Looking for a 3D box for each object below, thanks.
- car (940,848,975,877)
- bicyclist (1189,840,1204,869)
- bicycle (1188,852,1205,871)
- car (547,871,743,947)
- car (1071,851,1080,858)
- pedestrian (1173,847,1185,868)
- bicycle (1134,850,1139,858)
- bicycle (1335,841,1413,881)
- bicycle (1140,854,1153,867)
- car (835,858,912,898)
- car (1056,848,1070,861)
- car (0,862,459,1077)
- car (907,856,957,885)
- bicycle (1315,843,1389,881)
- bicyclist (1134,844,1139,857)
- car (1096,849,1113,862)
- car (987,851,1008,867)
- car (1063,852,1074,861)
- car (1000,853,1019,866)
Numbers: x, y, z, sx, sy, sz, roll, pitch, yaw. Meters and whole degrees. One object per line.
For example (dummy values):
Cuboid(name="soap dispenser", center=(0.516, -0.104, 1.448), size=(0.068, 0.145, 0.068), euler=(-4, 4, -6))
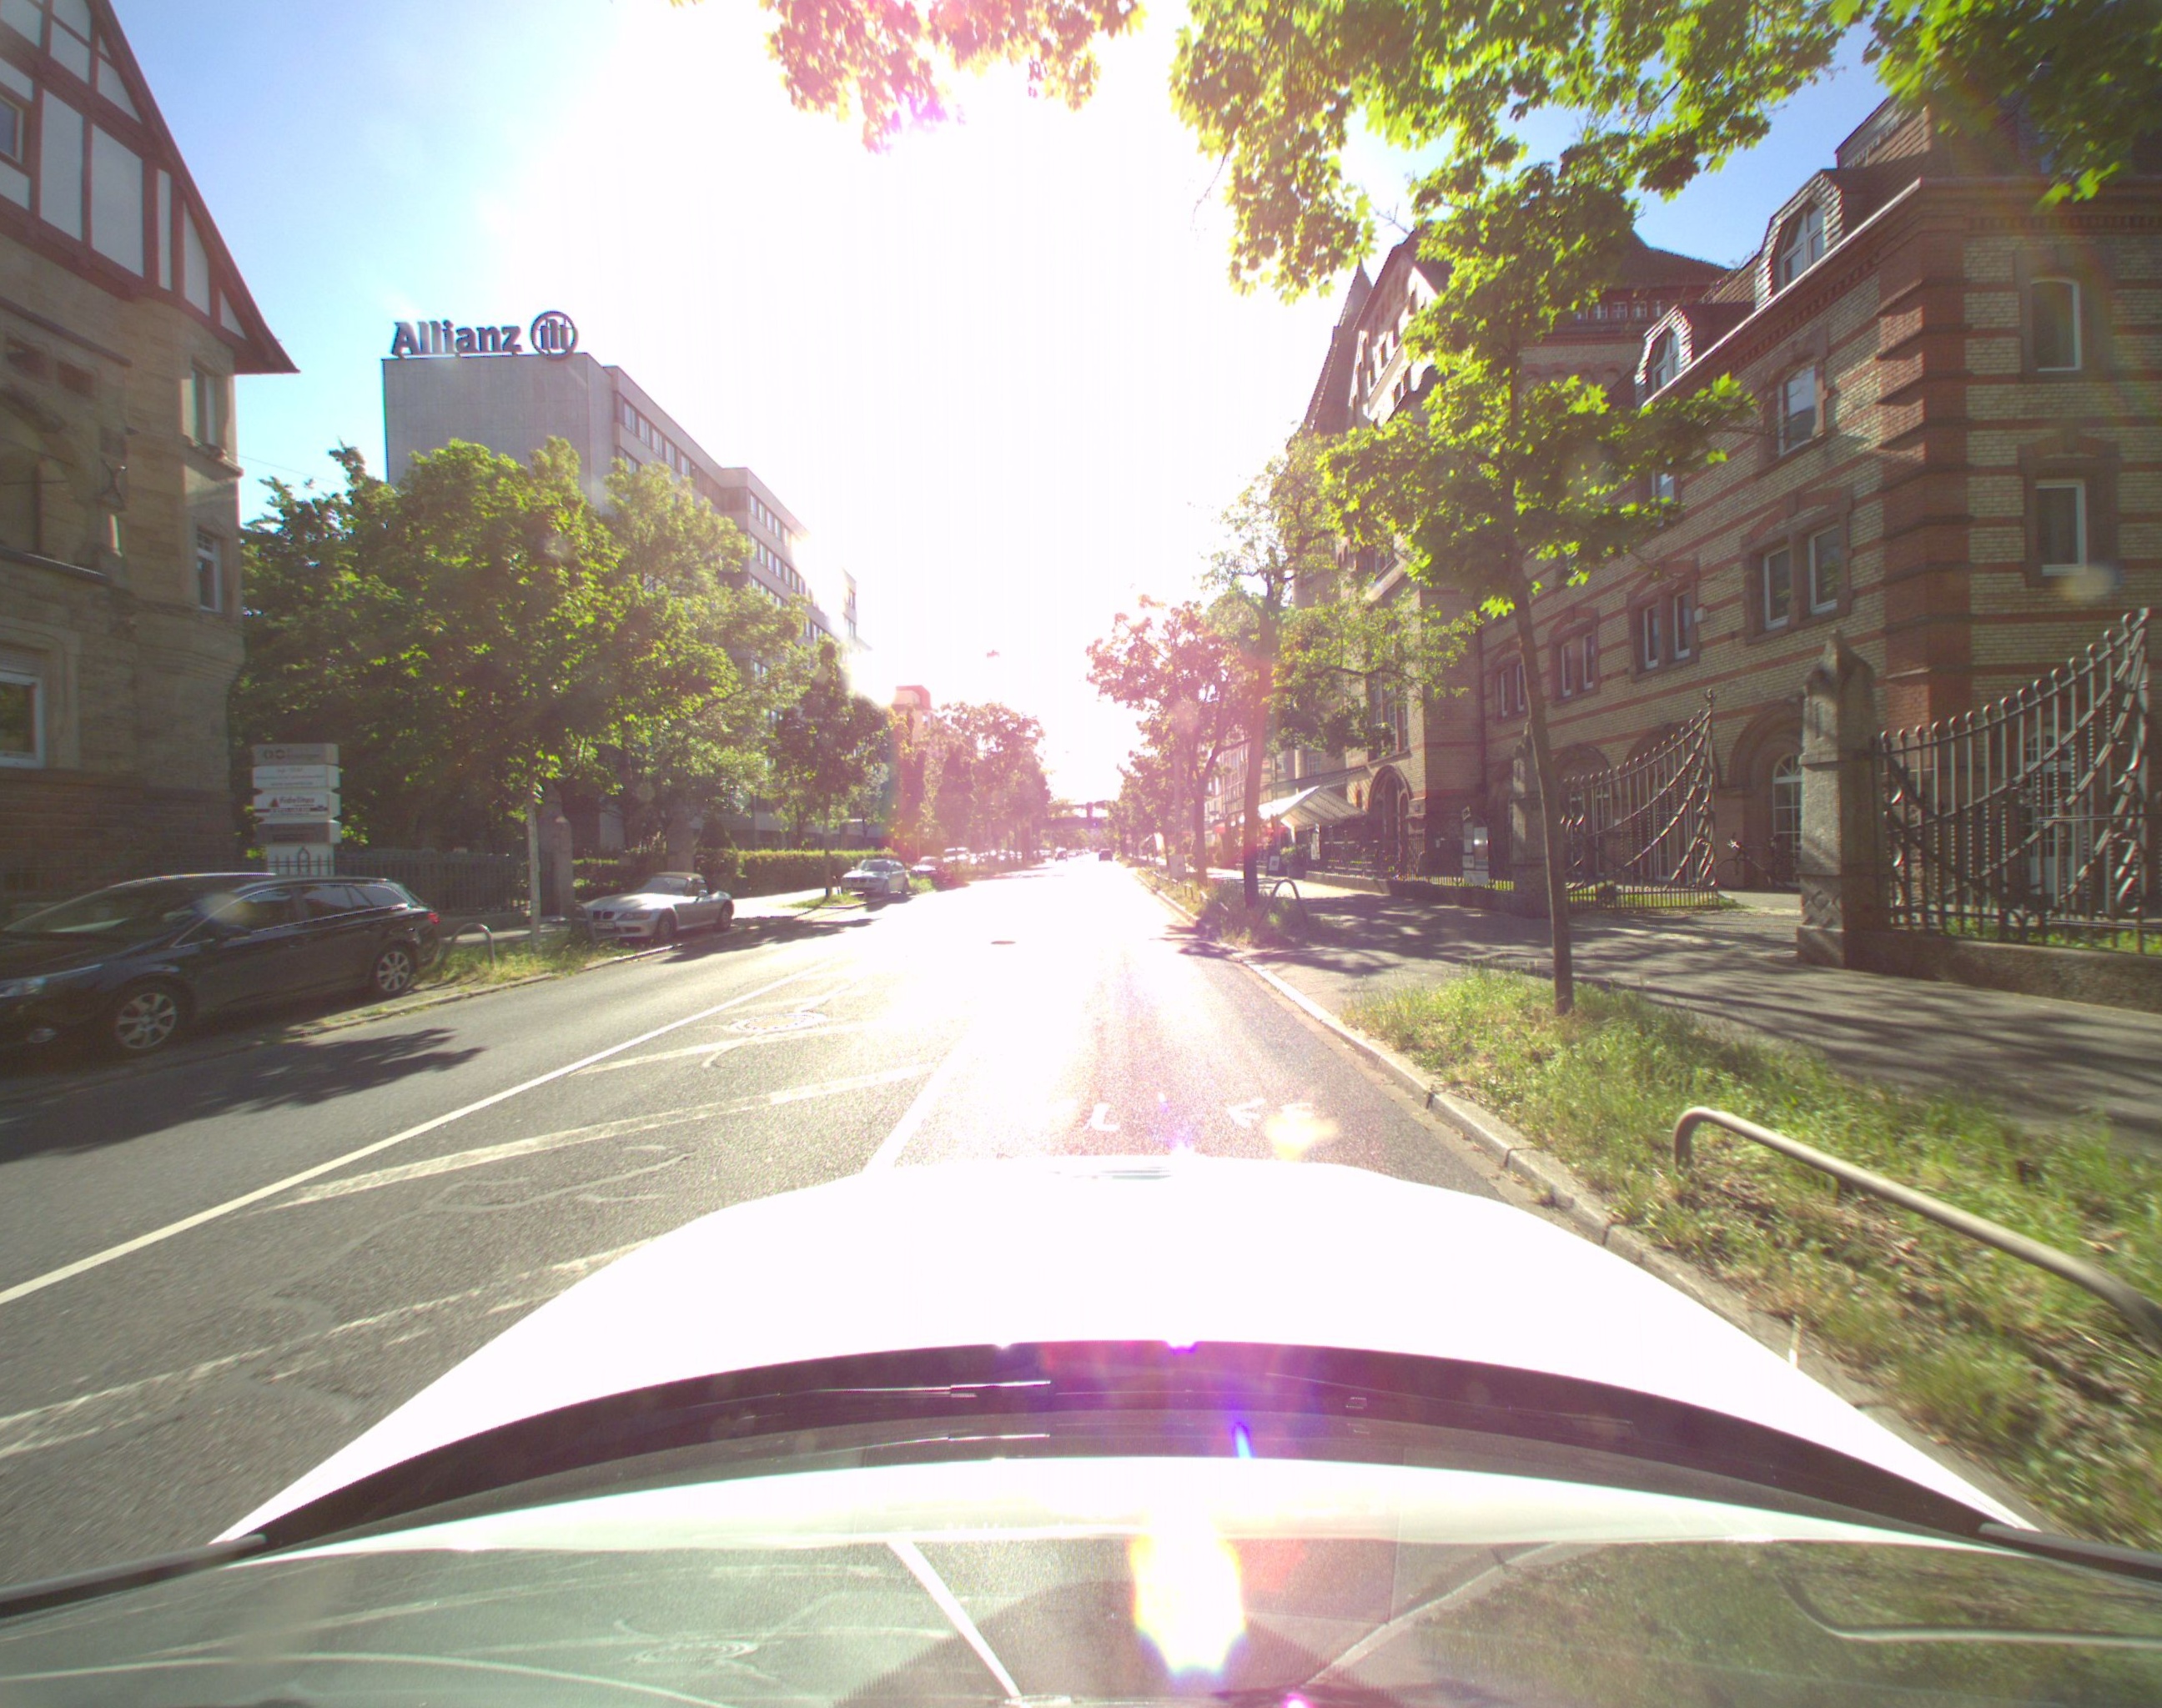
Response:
Cuboid(name="car", center=(-9.852, 0.645, 65.206), size=(1.975, 2.076, 5.194), euler=(-3, 0, -1))
Cuboid(name="bicyclist", center=(6.475, 0.037, 45.713), size=(0.698, 1.599, 0.955), euler=(-1, -1, 0))
Cuboid(name="bicycle", center=(6.483, 0.406, 45.889), size=(0.683, 1.027, 2.095), euler=(-1, -1, 0))
Cuboid(name="car", center=(-8.571, 1.016, 16.453), size=(1.672, 1.255, 4.016), euler=(0, 0, 2))
Cuboid(name="car", center=(-1.284, 0.143, 183.755), size=(1.849, 1.440, 4.318), euler=(-3, 0, 0))
Cuboid(name="pedestrian", center=(7.754, 0.256, 64.461), size=(0.652, 1.604, 0.602), euler=(-4, -1, -5))
Cuboid(name="bicycle", center=(7.574, 0.006, 111.152), size=(0.587, 1.027, 1.860), euler=(-1, -1, 0))
Cuboid(name="bicycle", center=(9.177, 0.223, 25.532), size=(2.192, 1.178, 0.686), euler=(-1, -1, -5))
Cuboid(name="bicycle", center=(5.545, 0.559, 68.745), size=(0.586, 1.066, 2.032), euler=(-1, 0, 18))
Cuboid(name="car", center=(-8.137, 0.899, 32.295), size=(1.681, 1.383, 4.195), euler=(2, 0, 4))
Cuboid(name="car", center=(-2.648, 0.073, 118.984), size=(1.850, 1.825, 4.609), euler=(-3, 0, 0))
Cuboid(name="car", center=(-9.068, 0.888, 8.383), size=(1.852, 1.494, 4.700), euler=(2, 0, -3))
Cuboid(name="car", center=(-7.945, 0.867, 43.727), size=(1.705, 1.458, 4.075), euler=(0, 0, 3))
Cuboid(name="bicycle", center=(8.895, 0.270, 26.750), size=(2.192, 1.178, 0.686), euler=(-1, -1, -5))
Cuboid(name="bicyclist", center=(7.587, -0.444, 111.128), size=(0.665, 1.695, 0.889), euler=(0, -1, 0))
Cuboid(name="car", center=(2.915, 0.182, 101.006), size=(1.978, 1.600, 4.140), euler=(-1, 0, 0))
Cuboid(name="car", center=(-9.402, 0.547, 92.393), size=(1.849, 1.850, 4.562), euler=(0, 0, 0))
Cuboid(name="car", center=(-2.275, 0.487, 153.196), size=(1.849, 1.568, 4.715), euler=(-3, 0, 1))
Cuboid(name="car", center=(-8.783, 0.711, 100.143), size=(1.849, 1.568, 3.873), euler=(0, 0, 2))
